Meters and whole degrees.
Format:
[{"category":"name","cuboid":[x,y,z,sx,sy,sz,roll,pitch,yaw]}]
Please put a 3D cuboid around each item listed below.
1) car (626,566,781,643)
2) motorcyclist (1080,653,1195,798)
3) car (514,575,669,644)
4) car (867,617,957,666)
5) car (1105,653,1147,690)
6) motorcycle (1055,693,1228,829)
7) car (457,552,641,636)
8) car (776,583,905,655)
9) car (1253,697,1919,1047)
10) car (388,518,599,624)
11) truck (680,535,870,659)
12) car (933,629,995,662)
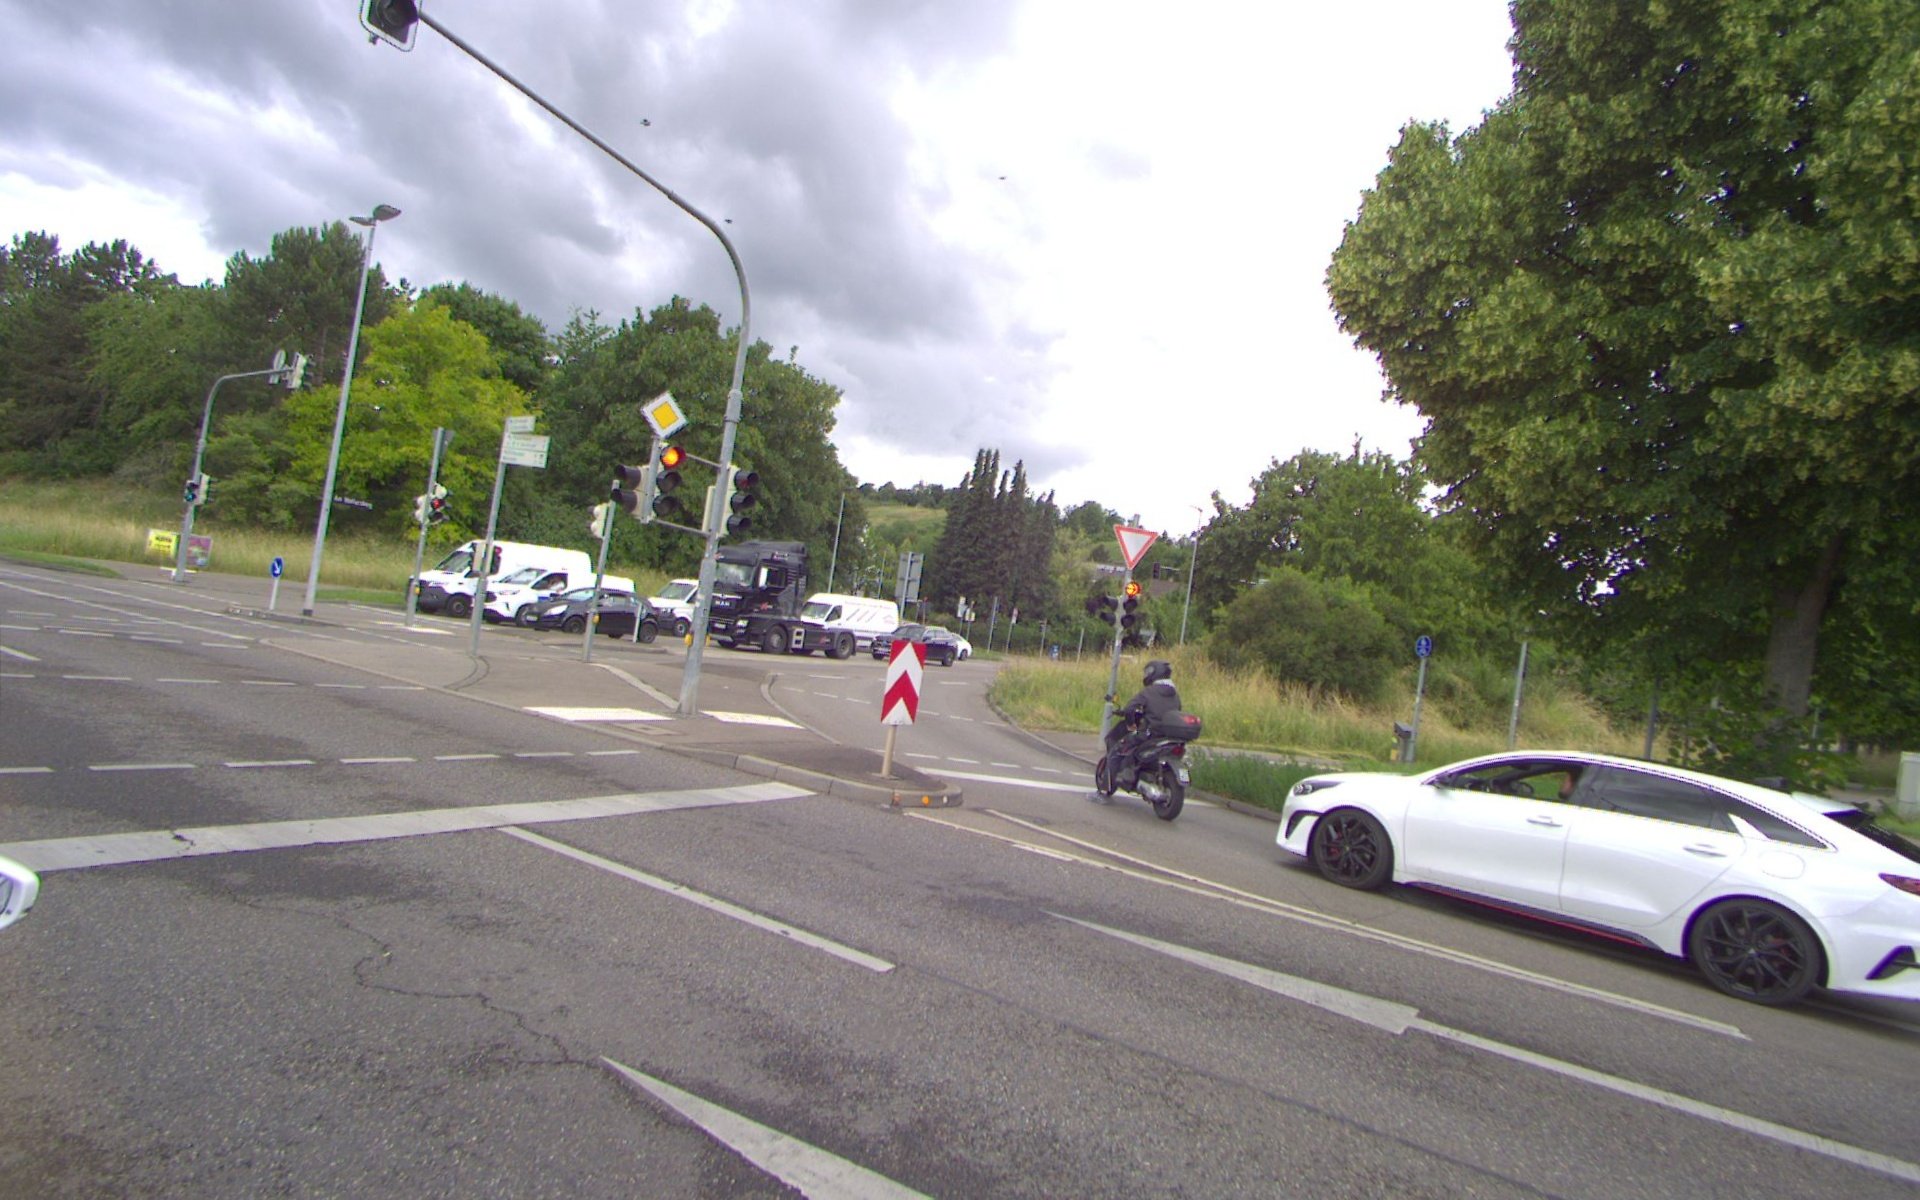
[{"category":"car","cuboid":[-10.304,0.245,41.002,2.193,2.413,5.948,6,-2,35]},{"category":"motorcyclist","cuboid":[1.969,1.381,11.217,0.750,1.437,0.813,9,-1,-23]},{"category":"car","cuboid":[-10.485,0.314,28.862,1.610,1.458,3.858,7,-2,34]},{"category":"car","cuboid":[-1.966,1.774,42.059,1.722,1.594,3.861,7,-2,32]},{"category":"car","cuboid":[7.886,3.371,48.154,1.718,1.452,3.871,7,-2,8]},{"category":"motorcycle","cuboid":[1.944,1.730,11.147,0.750,1.102,2.059,9,-2,-23]},{"category":"car","cuboid":[-12.879,-0.135,31.857,2.086,2.013,4.981,5,-3,32]},{"category":"car","cuboid":[-5.631,0.980,48.714,2.192,2.751,6.674,6,-2,33]},{"category":"car","cuboid":[4.793,1.823,7.722,1.827,1.435,4.459,12,-5,-43]},{"category":"car","cuboid":[-15.395,-0.872,33.639,2.192,2.689,5.950,6,-2,33]},{"category":"truck","cuboid":[-6.371,-0.012,35.563,3.025,3.558,5.950,6,-2,33]},{"category":"car","cuboid":[0.269,2.590,57.046,1.625,1.473,3.861,7,-2,32]}]
